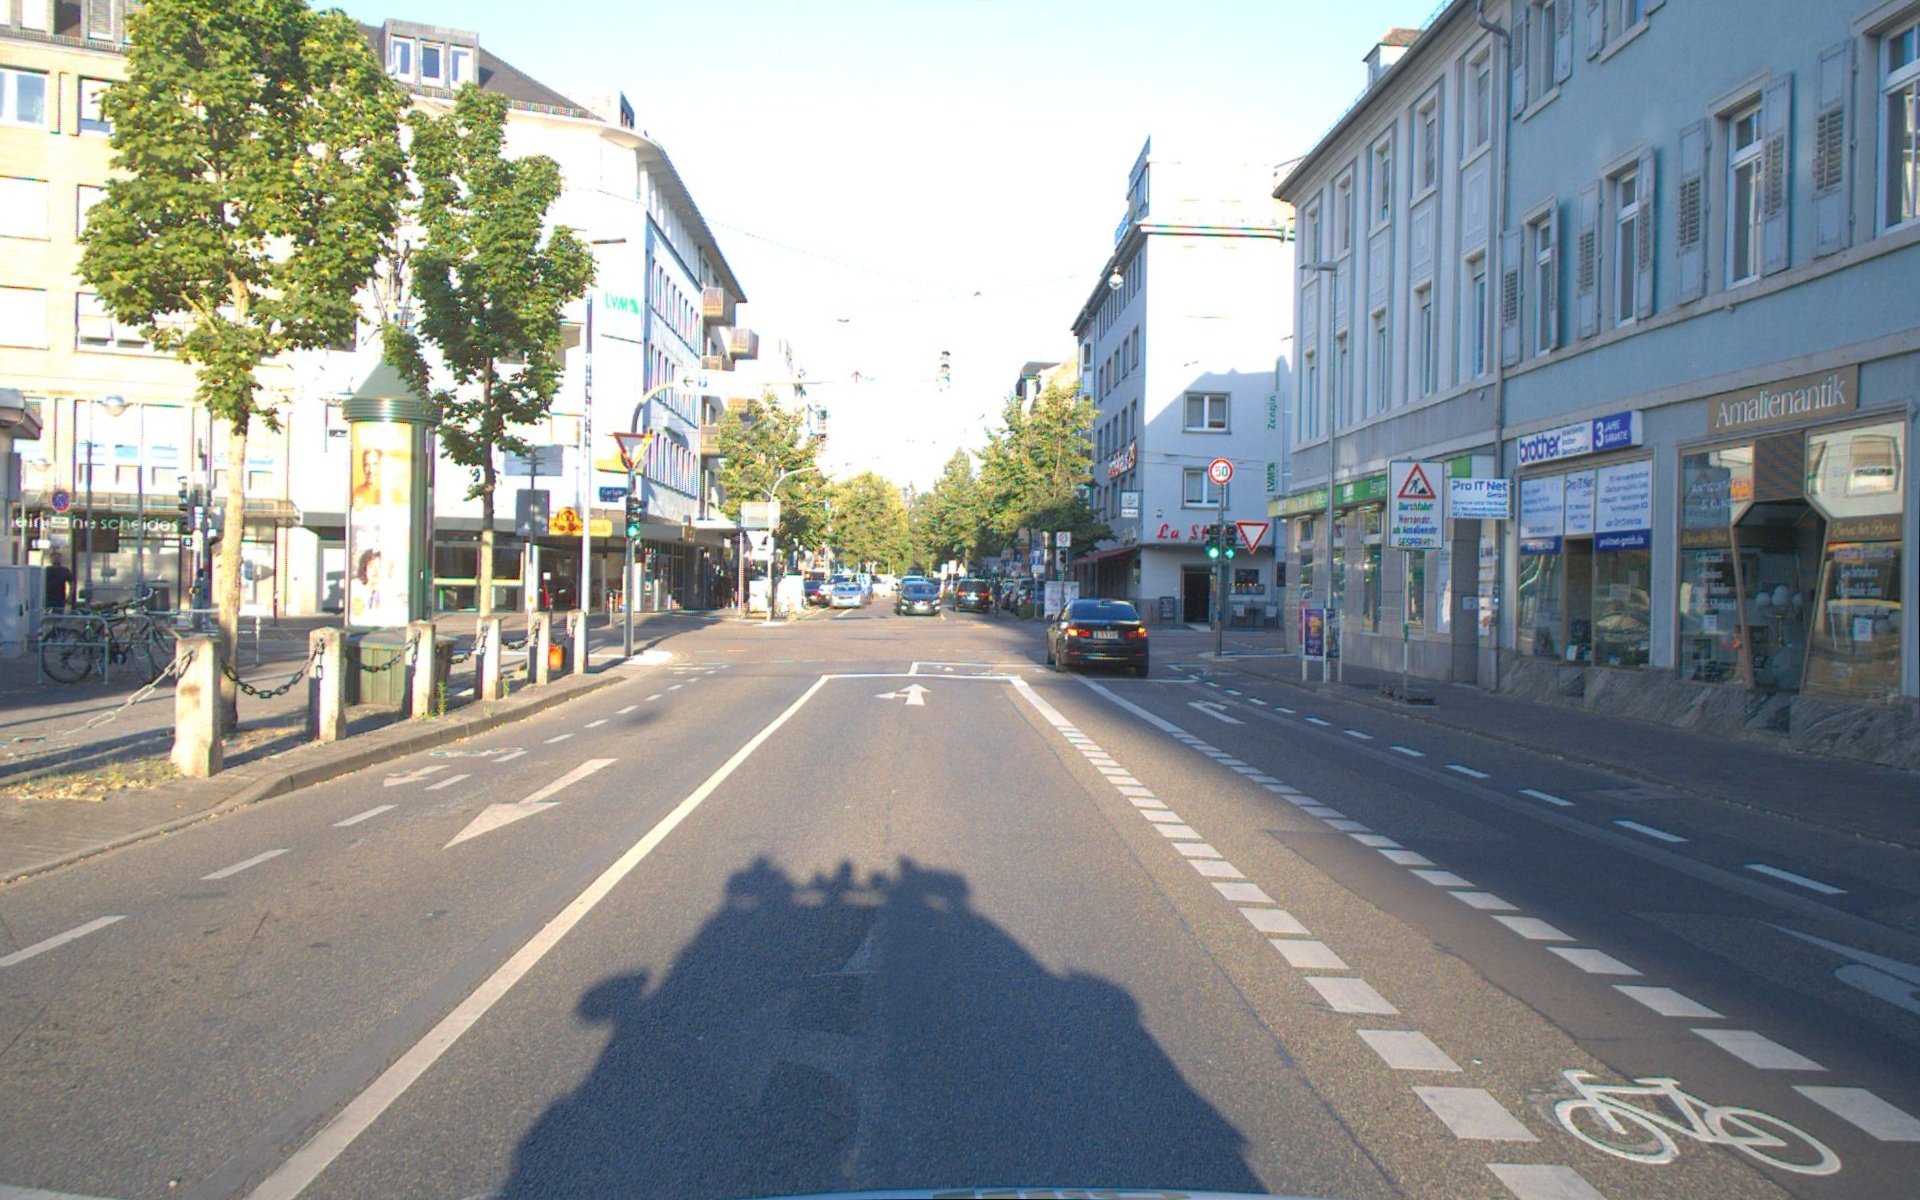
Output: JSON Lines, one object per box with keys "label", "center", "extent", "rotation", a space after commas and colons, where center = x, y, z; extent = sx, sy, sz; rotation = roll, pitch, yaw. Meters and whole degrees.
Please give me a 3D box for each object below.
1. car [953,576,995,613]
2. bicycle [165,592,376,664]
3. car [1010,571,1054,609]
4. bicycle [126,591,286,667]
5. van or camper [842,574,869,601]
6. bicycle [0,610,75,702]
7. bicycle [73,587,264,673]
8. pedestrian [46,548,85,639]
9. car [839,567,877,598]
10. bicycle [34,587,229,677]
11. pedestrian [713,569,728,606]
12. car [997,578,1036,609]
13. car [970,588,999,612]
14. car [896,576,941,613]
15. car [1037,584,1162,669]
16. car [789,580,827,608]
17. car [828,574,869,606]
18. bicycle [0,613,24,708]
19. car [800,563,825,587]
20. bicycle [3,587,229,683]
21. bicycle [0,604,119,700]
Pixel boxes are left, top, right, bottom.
{"label": "car", "center": [0.694, -0.291, 82.976], "extent": [1.953, 1.780, 3.999], "rotation": [1, 1, -1]}
{"label": "bicycle", "center": [-10.623, 0.426, 25.546], "extent": [2.881, 1.040, 0.843], "rotation": [1, 0, 1]}
{"label": "car", "center": [3.583, -0.512, 83.061], "extent": [1.953, 1.810, 4.000], "rotation": [2, 1, -1]}
{"label": "bicycle", "center": [-11.216, 0.426, 24.653], "extent": [2.049, 1.082, 0.681], "rotation": [1, 0, -1]}
{"label": "van or camper", "center": [-10.014, -1.242, 158.614], "extent": [2.424, 2.447, 3.996], "rotation": [2, 1, -5]}
{"label": "bicycle", "center": [-10.756, 0.564, 17.387], "extent": [2.473, 0.935, 0.700], "rotation": [1, 0, -4]}
{"label": "bicycle", "center": [-11.133, 0.413, 23.305], "extent": [2.276, 1.150, 0.800], "rotation": [1, 0, 0]}
{"label": "pedestrian", "center": [-16.343, -0.115, 30.230], "extent": [0.543, 1.639, 0.635], "rotation": [1, 0, -35]}
{"label": "car", "center": [-6.131, -1.057, 99.509], "extent": [1.953, 1.780, 4.000], "rotation": [2, 1, 0]}
{"label": "bicycle", "center": [-11.189, 0.424, 22.387], "extent": [2.191, 1.155, 0.811], "rotation": [1, 0, -4]}
{"label": "pedestrian", "center": [-11.541, -0.590, 79.747], "extent": [0.590, 1.751, 0.575], "rotation": [1, 0, -16]}
{"label": "car", "center": [3.133, -0.397, 92.300], "extent": [1.953, 1.645, 4.000], "rotation": [2, 1, -1]}
{"label": "car", "center": [1.747, 0.009, 119.736], "extent": [1.746, 1.624, 3.632], "rotation": [2, 1, -4]}
{"label": "car", "center": [-1.796, -0.258, 73.013], "extent": [1.846, 1.512, 4.000], "rotation": [2, 1, 0]}
{"label": "car", "center": [2.694, 0.478, 32.864], "extent": [1.851, 1.518, 4.202], "rotation": [2, 1, -3]}
{"label": "car", "center": [-9.224, -0.402, 100.739], "extent": [1.855, 1.624, 4.000], "rotation": [2, 1, 0]}
{"label": "car", "center": [-5.940, -0.529, 88.303], "extent": [1.855, 1.624, 4.000], "rotation": [2, 1, 0]}
{"label": "bicycle", "center": [-10.653, 0.586, 16.397], "extent": [2.281, 0.935, 0.700], "rotation": [1, 0, -4]}
{"label": "car", "center": [-13.165, -2.210, 147.804], "extent": [1.790, 2.049, 3.676], "rotation": [2, 1, 0]}
{"label": "bicycle", "center": [-10.782, 0.437, 21.183], "extent": [2.473, 1.166, 0.700], "rotation": [1, 0, -4]}
{"label": "bicycle", "center": [-10.902, 0.561, 18.502], "extent": [2.473, 1.015, 0.933], "rotation": [1, 0, -4]}
